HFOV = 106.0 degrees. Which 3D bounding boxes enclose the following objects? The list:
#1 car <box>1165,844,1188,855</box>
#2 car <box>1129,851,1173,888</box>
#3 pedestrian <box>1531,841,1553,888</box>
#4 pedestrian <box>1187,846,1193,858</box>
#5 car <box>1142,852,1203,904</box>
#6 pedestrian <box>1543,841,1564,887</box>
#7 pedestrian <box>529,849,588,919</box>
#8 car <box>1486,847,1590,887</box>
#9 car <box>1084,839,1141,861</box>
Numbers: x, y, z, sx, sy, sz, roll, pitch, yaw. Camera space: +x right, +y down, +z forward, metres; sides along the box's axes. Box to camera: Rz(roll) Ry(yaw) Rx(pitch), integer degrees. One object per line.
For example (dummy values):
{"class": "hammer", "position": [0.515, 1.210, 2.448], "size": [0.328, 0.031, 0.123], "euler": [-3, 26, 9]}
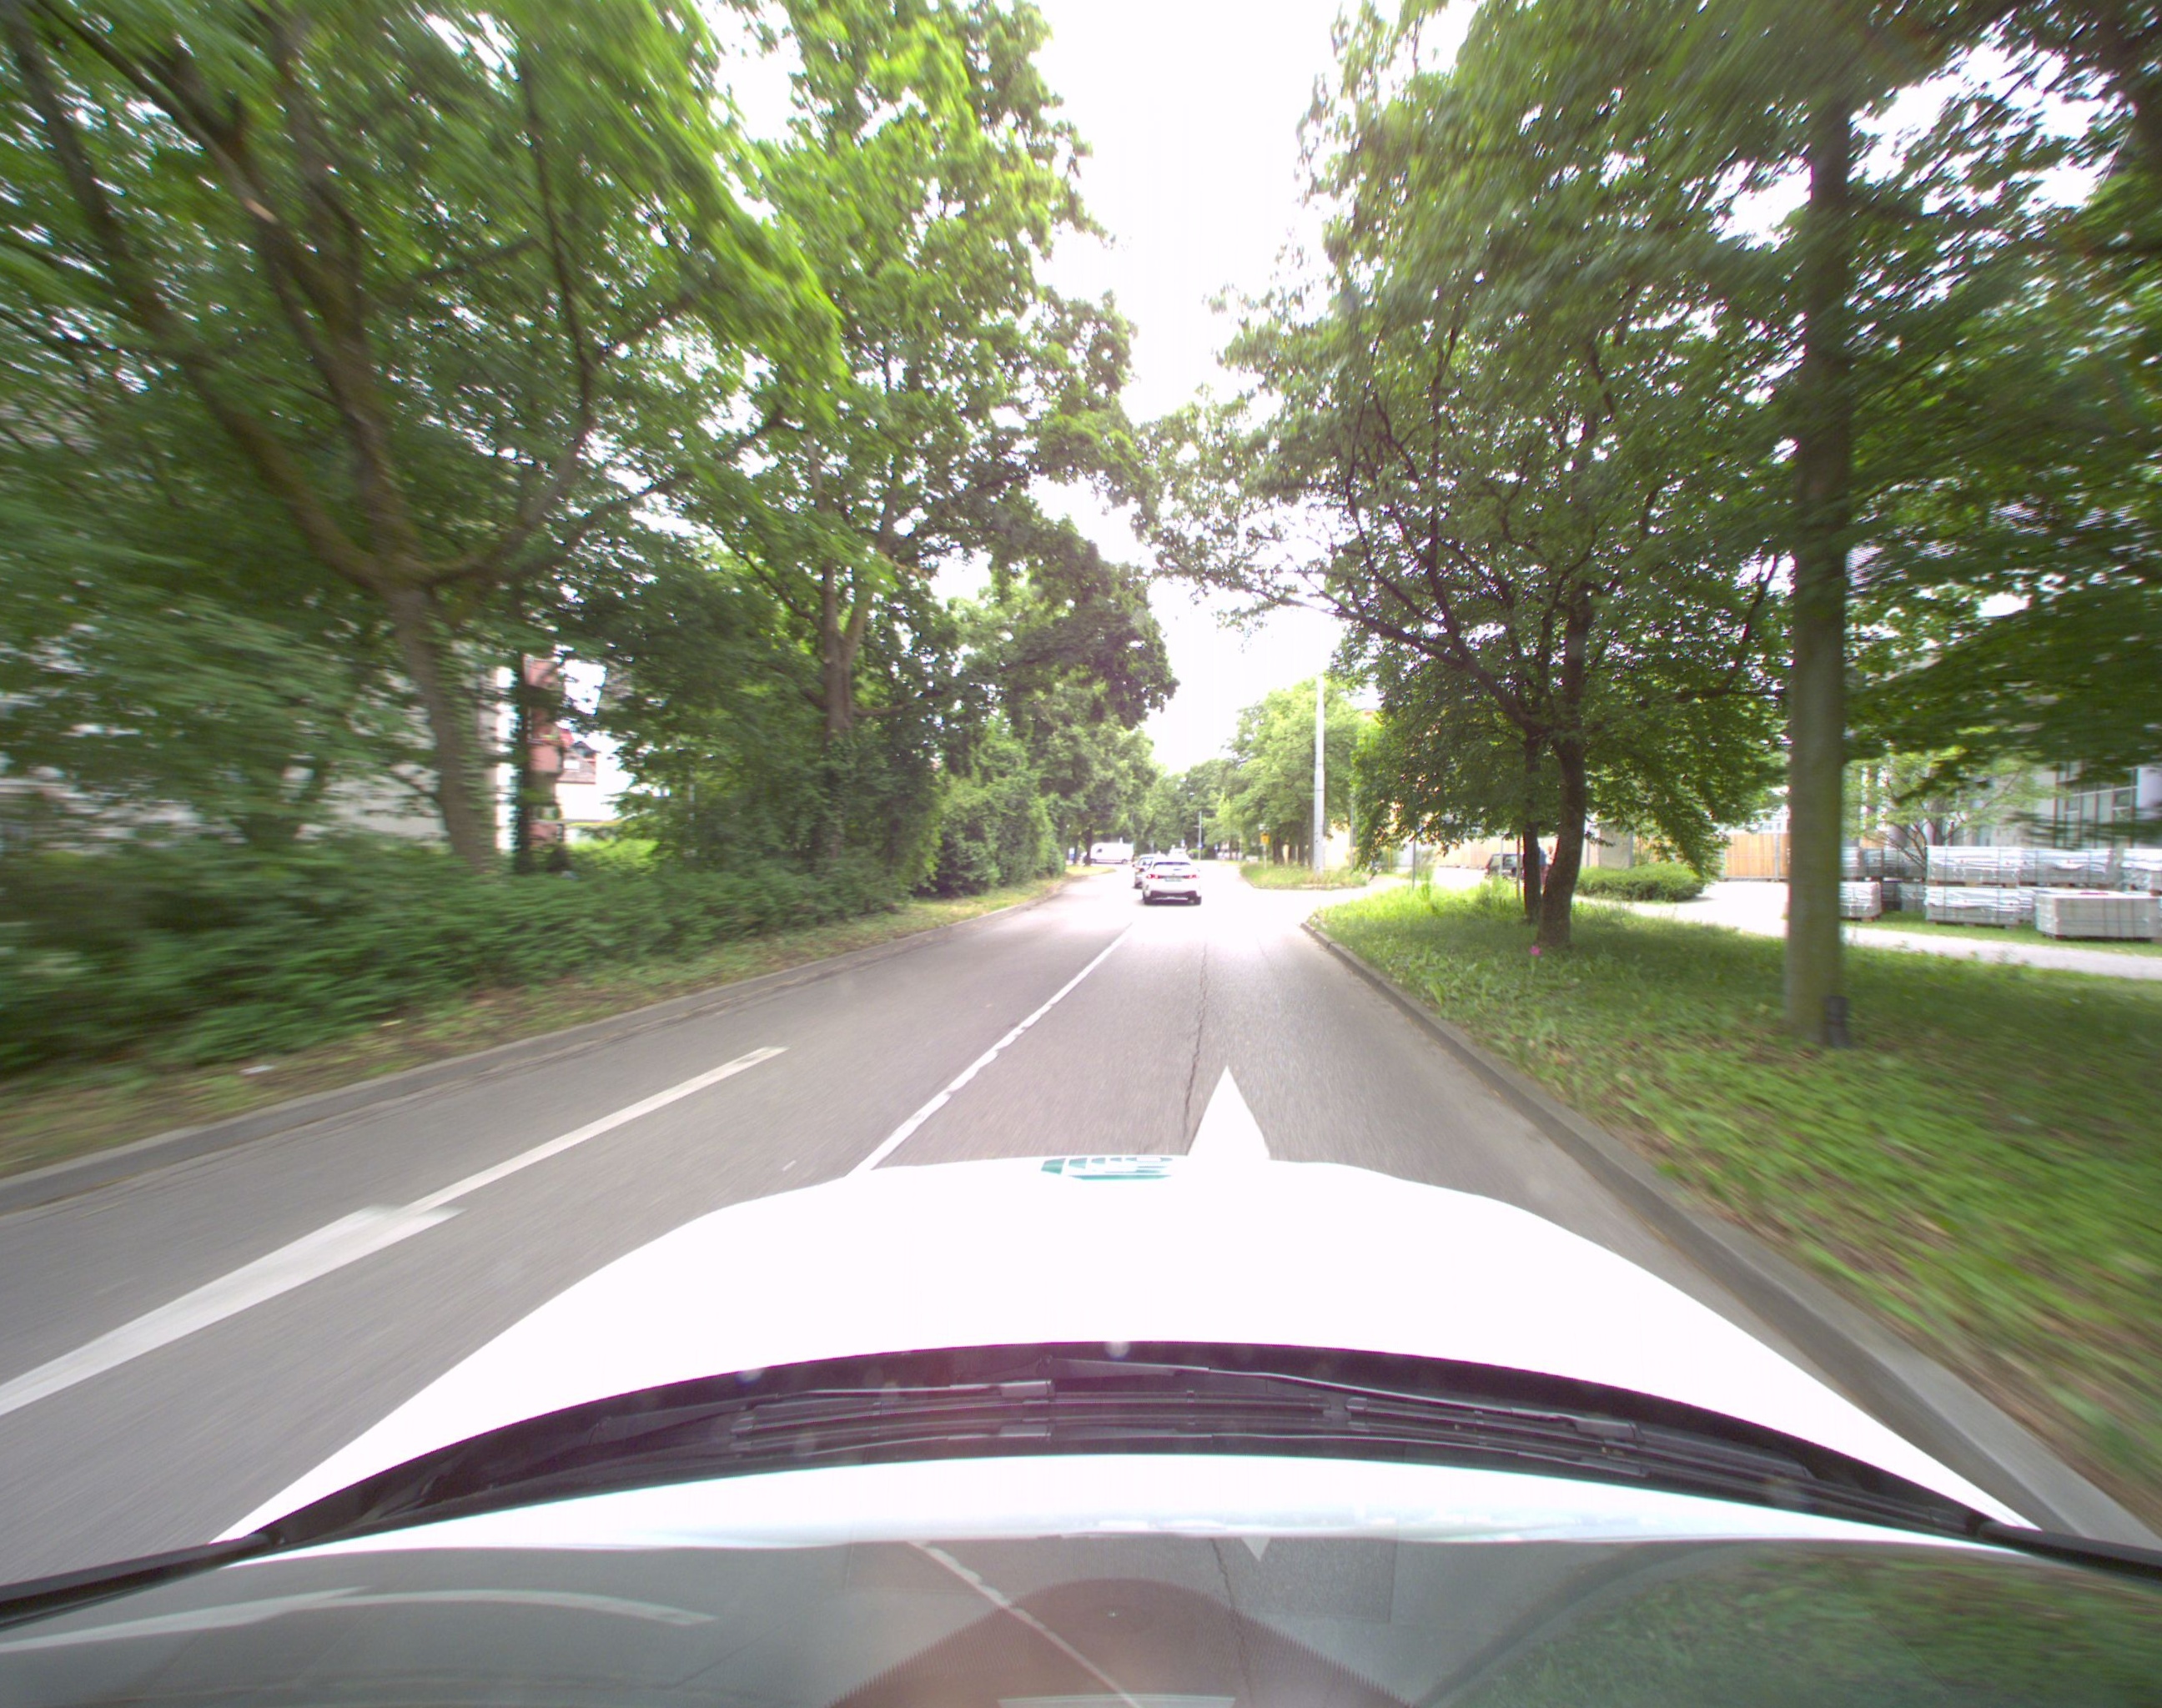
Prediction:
{"class": "car", "position": [22.532, -0.984, 192.191], "size": [5.414, 2.297, 2.113], "euler": [2, 2, -42]}
{"class": "car", "position": [3.373, 0.685, 38.699], "size": [1.913, 1.574, 4.008], "euler": [1, 1, 7]}
{"class": "pedestrian", "position": [17.801, 0.394, 31.438], "size": [0.475, 1.754, 0.580], "euler": [-3, 4, -20]}
{"class": "pedestrian", "position": [17.341, -0.363, 129.559], "size": [0.919, 1.871, 1.021], "euler": [-3, 3, 6]}
{"class": "car", "position": [3.010, 0.722, 26.509], "size": [1.786, 1.517, 4.215], "euler": [1, 0, 7]}
{"class": "pedestrian", "position": [18.471, 0.385, 31.859], "size": [0.498, 1.725, 0.533], "euler": [-3, 4, -20]}
{"class": "pedestrian", "position": [-11.685, 0.651, 18.237], "size": [0.604, 1.500, 0.875], "euler": [4, 1, 10]}
{"class": "car", "position": [18.825, 0.484, 33.479], "size": [4.762, 1.516, 1.851], "euler": [-1, 0, -35]}
{"class": "car", "position": [4.009, -0.482, 102.417], "size": [6.997, 2.521, 2.067], "euler": [2, 2, -28]}
